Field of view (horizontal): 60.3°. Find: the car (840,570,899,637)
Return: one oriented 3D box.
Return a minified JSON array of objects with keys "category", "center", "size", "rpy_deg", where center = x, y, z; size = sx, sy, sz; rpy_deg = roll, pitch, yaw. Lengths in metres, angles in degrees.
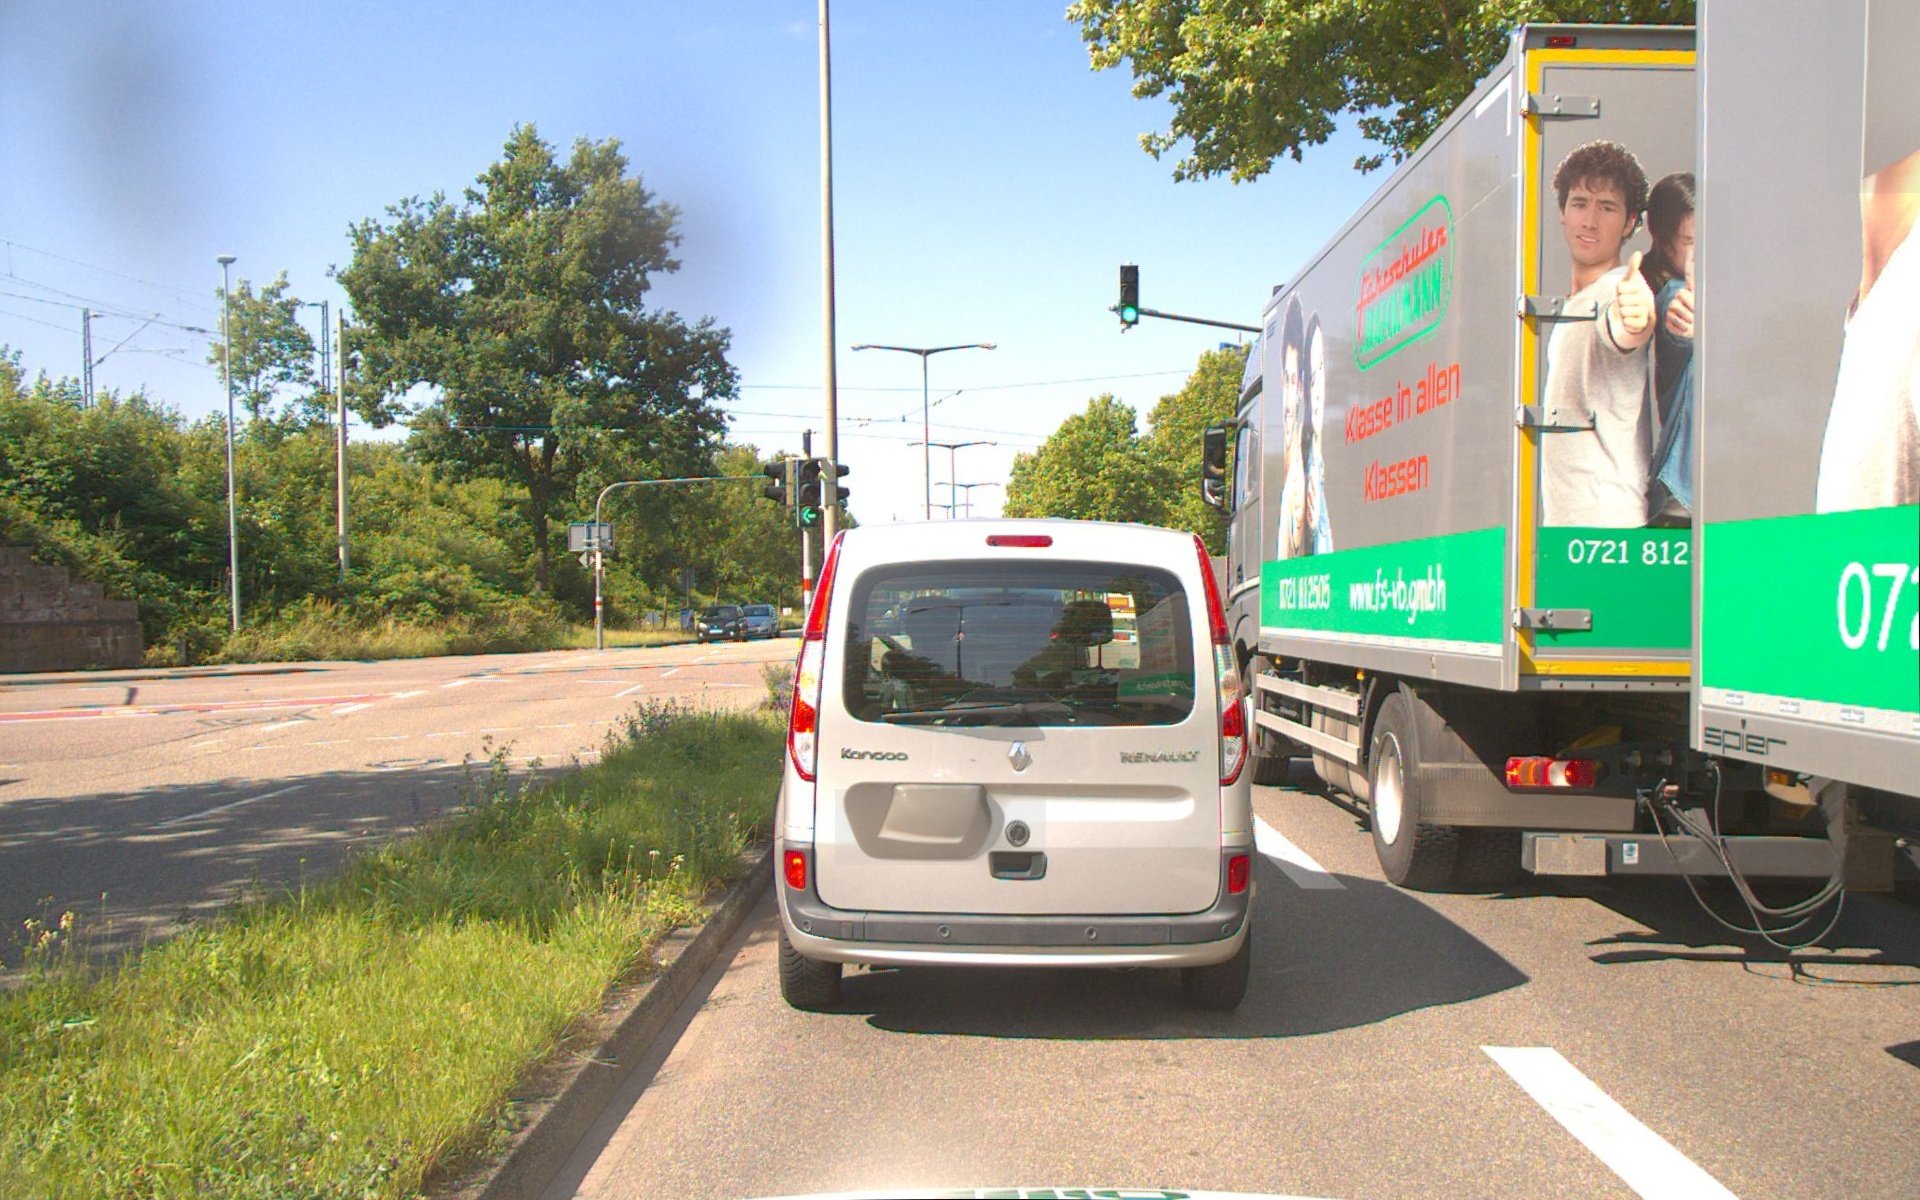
[{"category":"car","center":[-3.716,0.169,69.029],"size":[1.952,2.653,5.135],"rpy_deg":[-1,0,2]}]

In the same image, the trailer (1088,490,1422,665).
[{"category":"trailer","center":[7.676,-0.399,40.642],"size":[2.852,3.686,12.636],"rpy_deg":[1,-1,36]}]

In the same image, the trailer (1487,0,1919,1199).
[{"category":"trailer","center":[3.349,-0.561,2.581],"size":[2.680,3.945,7.736],"rpy_deg":[-1,0,1]}]

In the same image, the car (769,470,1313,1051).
[{"category":"car","center":[0.241,0.536,7.404],"size":[1.750,1.870,3.999],"rpy_deg":[1,0,-1]}]

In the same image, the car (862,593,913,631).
[{"category":"car","center":[-3.298,0.559,75.756],"size":[1.952,1.612,4.001],"rpy_deg":[-2,0,2]}]

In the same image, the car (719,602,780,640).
[{"category":"car","center":[-9.183,0.918,72.553],"size":[1.952,1.567,4.237],"rpy_deg":[-1,0,2]}]

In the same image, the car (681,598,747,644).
[{"category":"car","center":[-9.597,0.808,64.748],"size":[1.872,1.670,3.738],"rpy_deg":[-1,0,2]}]

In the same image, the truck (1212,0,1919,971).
[{"category":"truck","center":[3.543,-0.512,10.816],"size":[2.673,3.958,8.724],"rpy_deg":[0,0,2]}]

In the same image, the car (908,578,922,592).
[{"category":"car","center":[-6.905,-2.228,254.031],"size":[1.849,2.049,4.001],"rpy_deg":[1,0,1]}]
